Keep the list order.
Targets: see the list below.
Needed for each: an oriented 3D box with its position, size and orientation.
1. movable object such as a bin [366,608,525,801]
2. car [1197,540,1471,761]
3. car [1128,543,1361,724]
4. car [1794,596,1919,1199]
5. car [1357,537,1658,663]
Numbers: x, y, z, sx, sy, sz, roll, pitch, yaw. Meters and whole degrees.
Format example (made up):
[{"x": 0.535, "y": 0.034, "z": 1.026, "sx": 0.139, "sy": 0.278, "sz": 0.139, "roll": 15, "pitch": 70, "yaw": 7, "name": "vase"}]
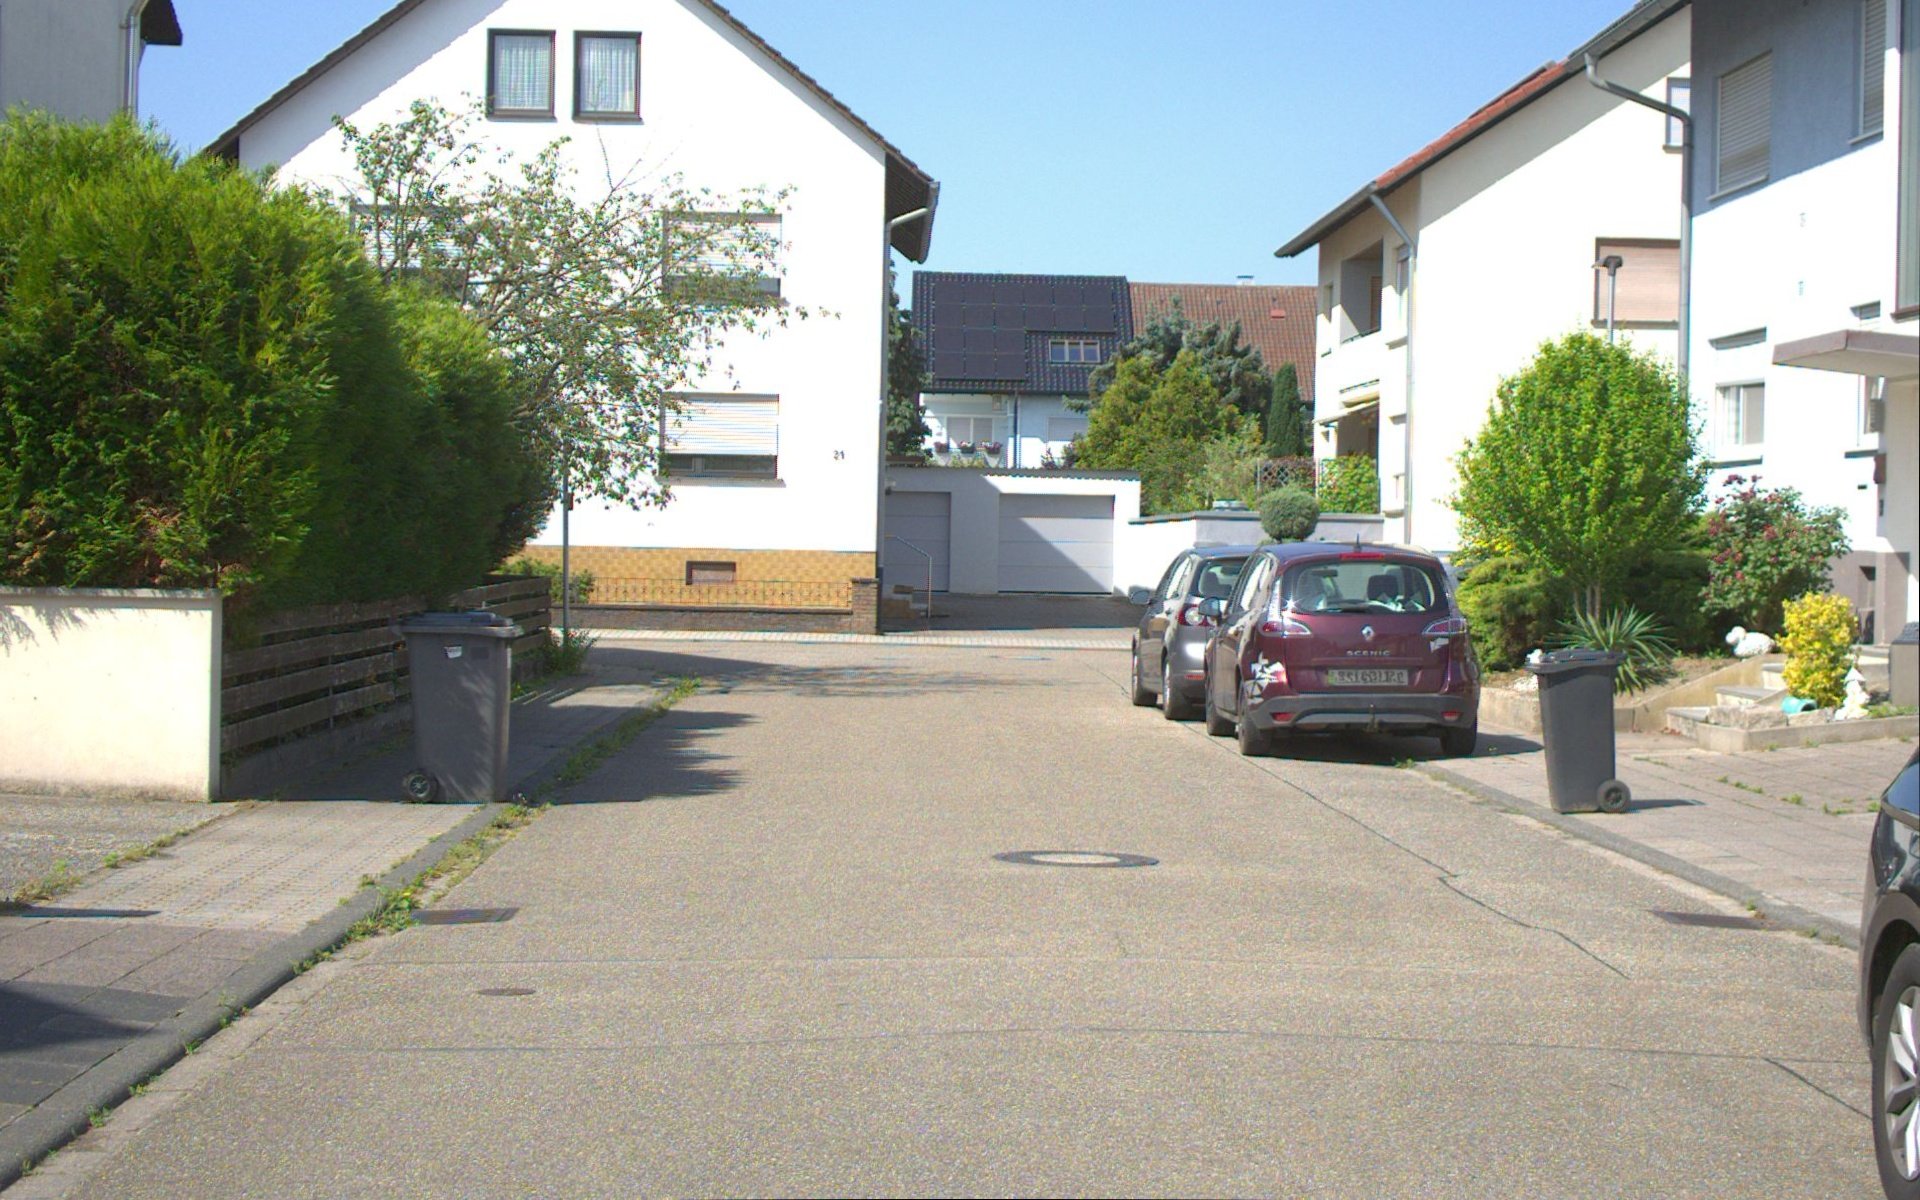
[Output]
[{"x": -2.922, "y": 0.587, "z": 19.567, "sx": 0.818, "sy": 1.060, "sz": 0.611, "roll": 1, "pitch": 1, "yaw": -1, "name": "movable object such as a bin"}, {"x": 2.885, "y": 0.336, "z": 27.292, "sx": 1.645, "sy": 1.576, "sz": 4.148, "roll": 1, "pitch": 1, "yaw": -1, "name": "car"}, {"x": 2.601, "y": 0.265, "z": 32.227, "sx": 1.645, "sy": 1.540, "sz": 4.048, "roll": 1, "pitch": 1, "yaw": -3, "name": "car"}, {"x": 2.932, "y": 0.769, "z": 6.322, "sx": 1.717, "sy": 1.433, "sz": 4.503, "roll": 2, "pitch": 1, "yaw": 1, "name": "car"}, {"x": 7.352, "y": 0.007, "z": 46.073, "sx": 3.797, "sy": 1.576, "sz": 1.650, "roll": 1, "pitch": 1, "yaw": -33, "name": "car"}]
